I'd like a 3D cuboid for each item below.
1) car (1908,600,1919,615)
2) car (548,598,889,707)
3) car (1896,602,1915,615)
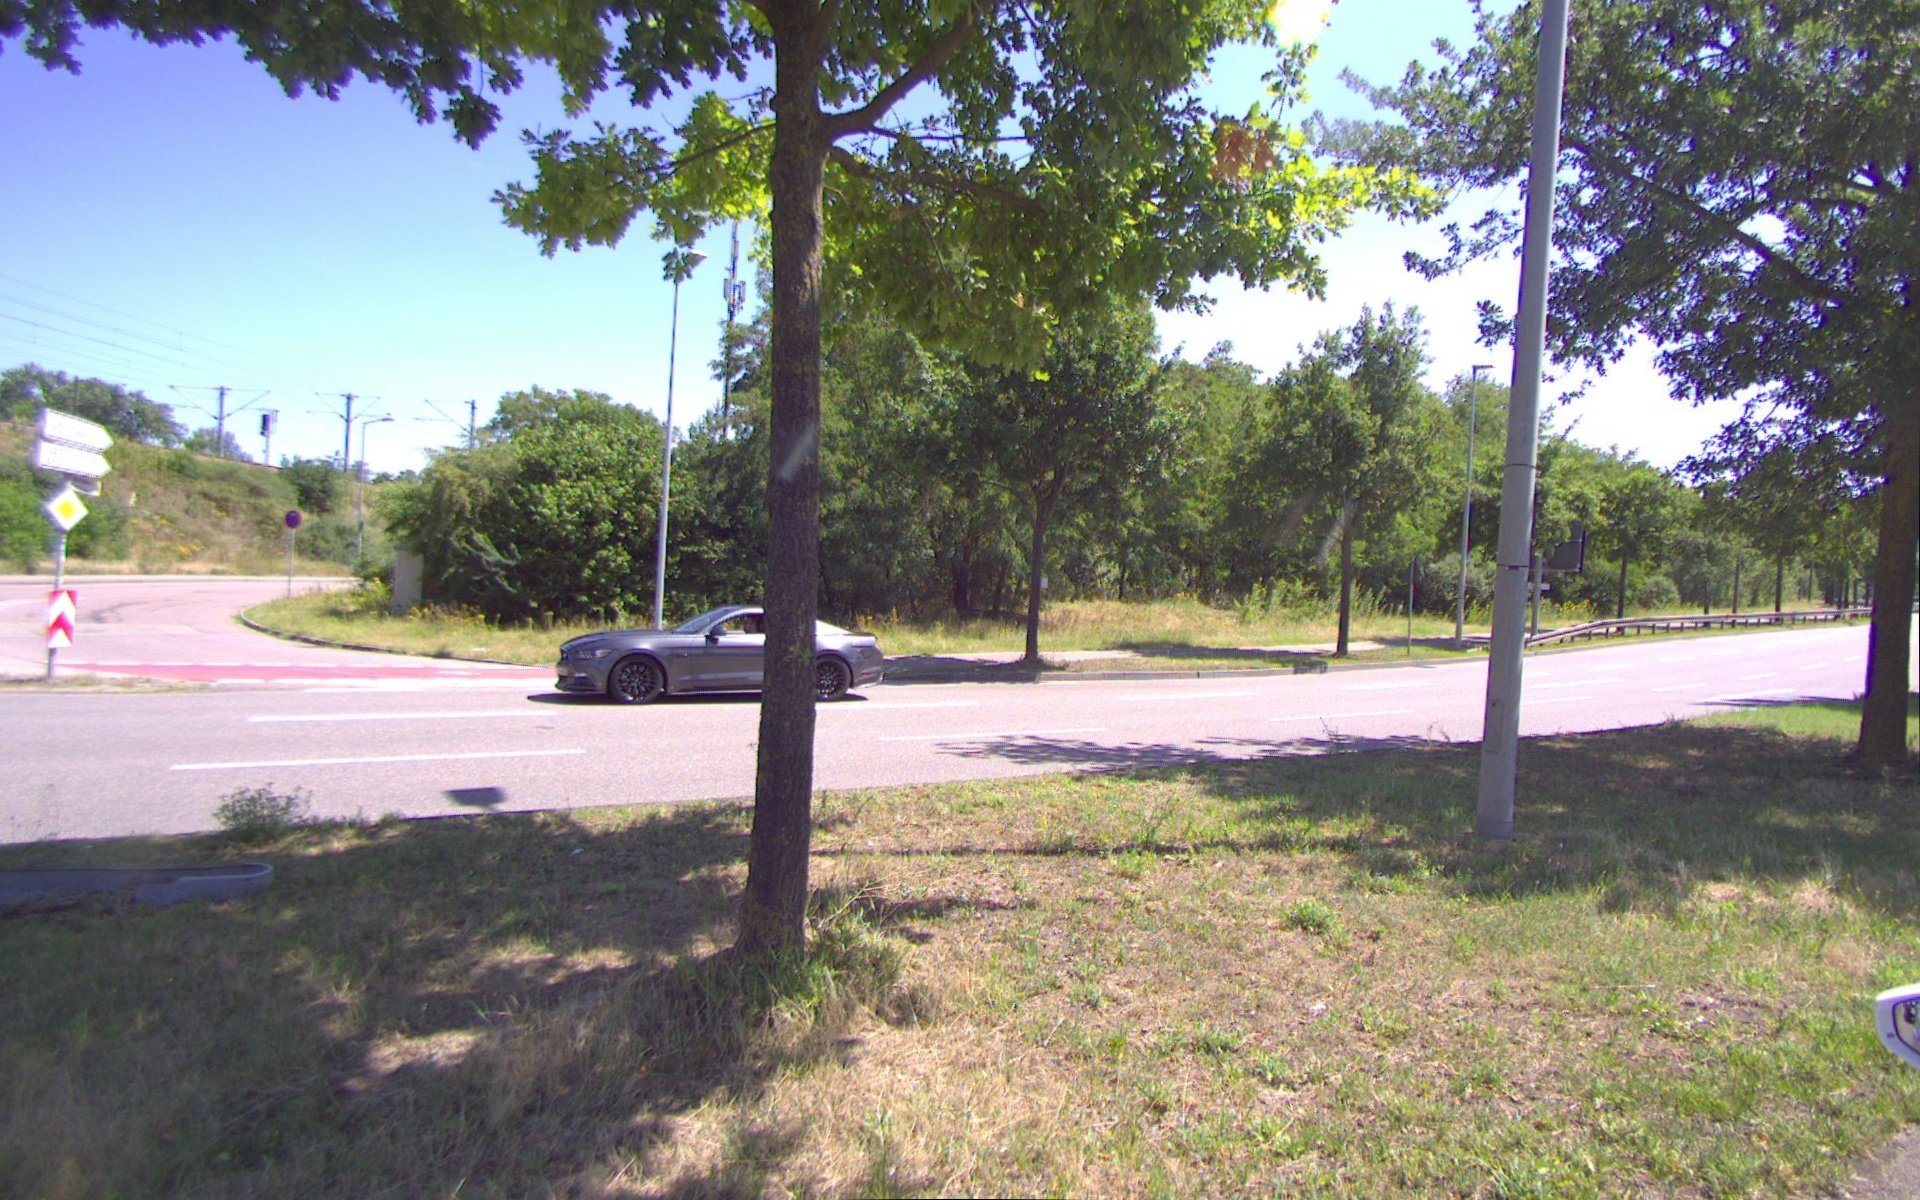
[{"bbox_3d":[93.495,0.732,97.934,1.441,1.331,3.615,3,0,44],"label":"car"},{"bbox_3d":[-3.479,0.758,14.629,4.511,1.351,1.803,3,0,-27],"label":"car"},{"bbox_3d":[103.050,0.916,109.498,1.403,1.331,3.316,3,0,44],"label":"car"}]
